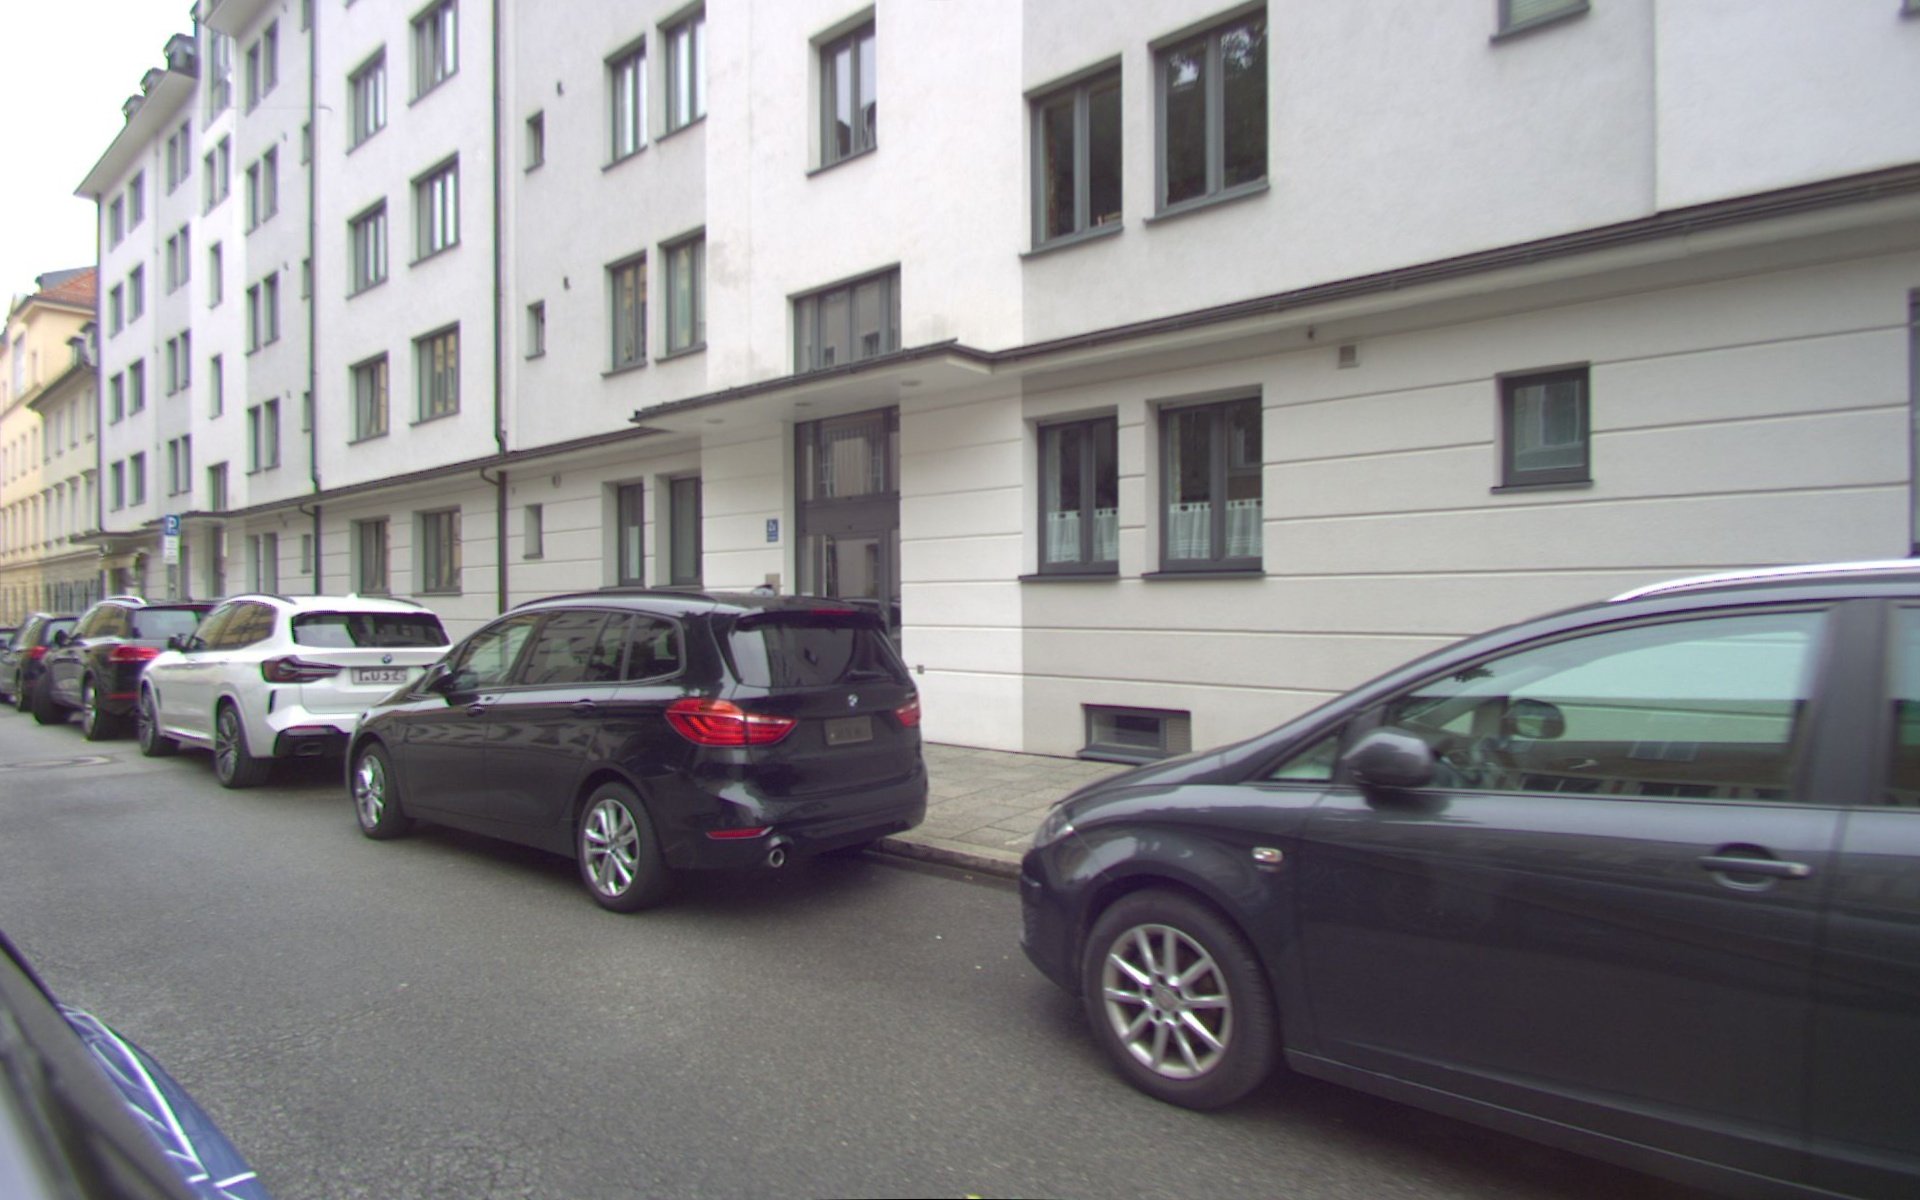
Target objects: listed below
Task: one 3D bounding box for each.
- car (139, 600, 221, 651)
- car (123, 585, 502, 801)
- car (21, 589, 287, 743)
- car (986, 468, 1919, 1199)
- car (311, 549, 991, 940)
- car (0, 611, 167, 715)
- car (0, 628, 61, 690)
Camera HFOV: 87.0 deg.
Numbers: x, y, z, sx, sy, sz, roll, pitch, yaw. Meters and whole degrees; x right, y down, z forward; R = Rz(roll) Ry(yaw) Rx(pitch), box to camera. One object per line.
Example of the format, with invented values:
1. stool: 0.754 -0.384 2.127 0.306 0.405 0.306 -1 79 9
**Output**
1. car: -33.883 1.089 43.909 4.398 2.029 1.973 -1 0 41
2. car: -6.558 0.802 10.043 4.586 1.671 1.853 -2 -3 40
3. car: -10.758 0.811 13.388 4.516 1.701 1.853 -2 -3 40
4. car: 2.231 0.613 2.765 4.076 1.671 1.853 -2 -3 40
5. car: -2.193 0.695 6.480 4.583 1.671 1.854 -2 -3 38
6. car: -15.117 1.014 17.171 4.155 1.551 1.755 -2 -3 40
7. car: -22.650 1.348 23.547 4.047 1.365 1.625 -2 -3 34
